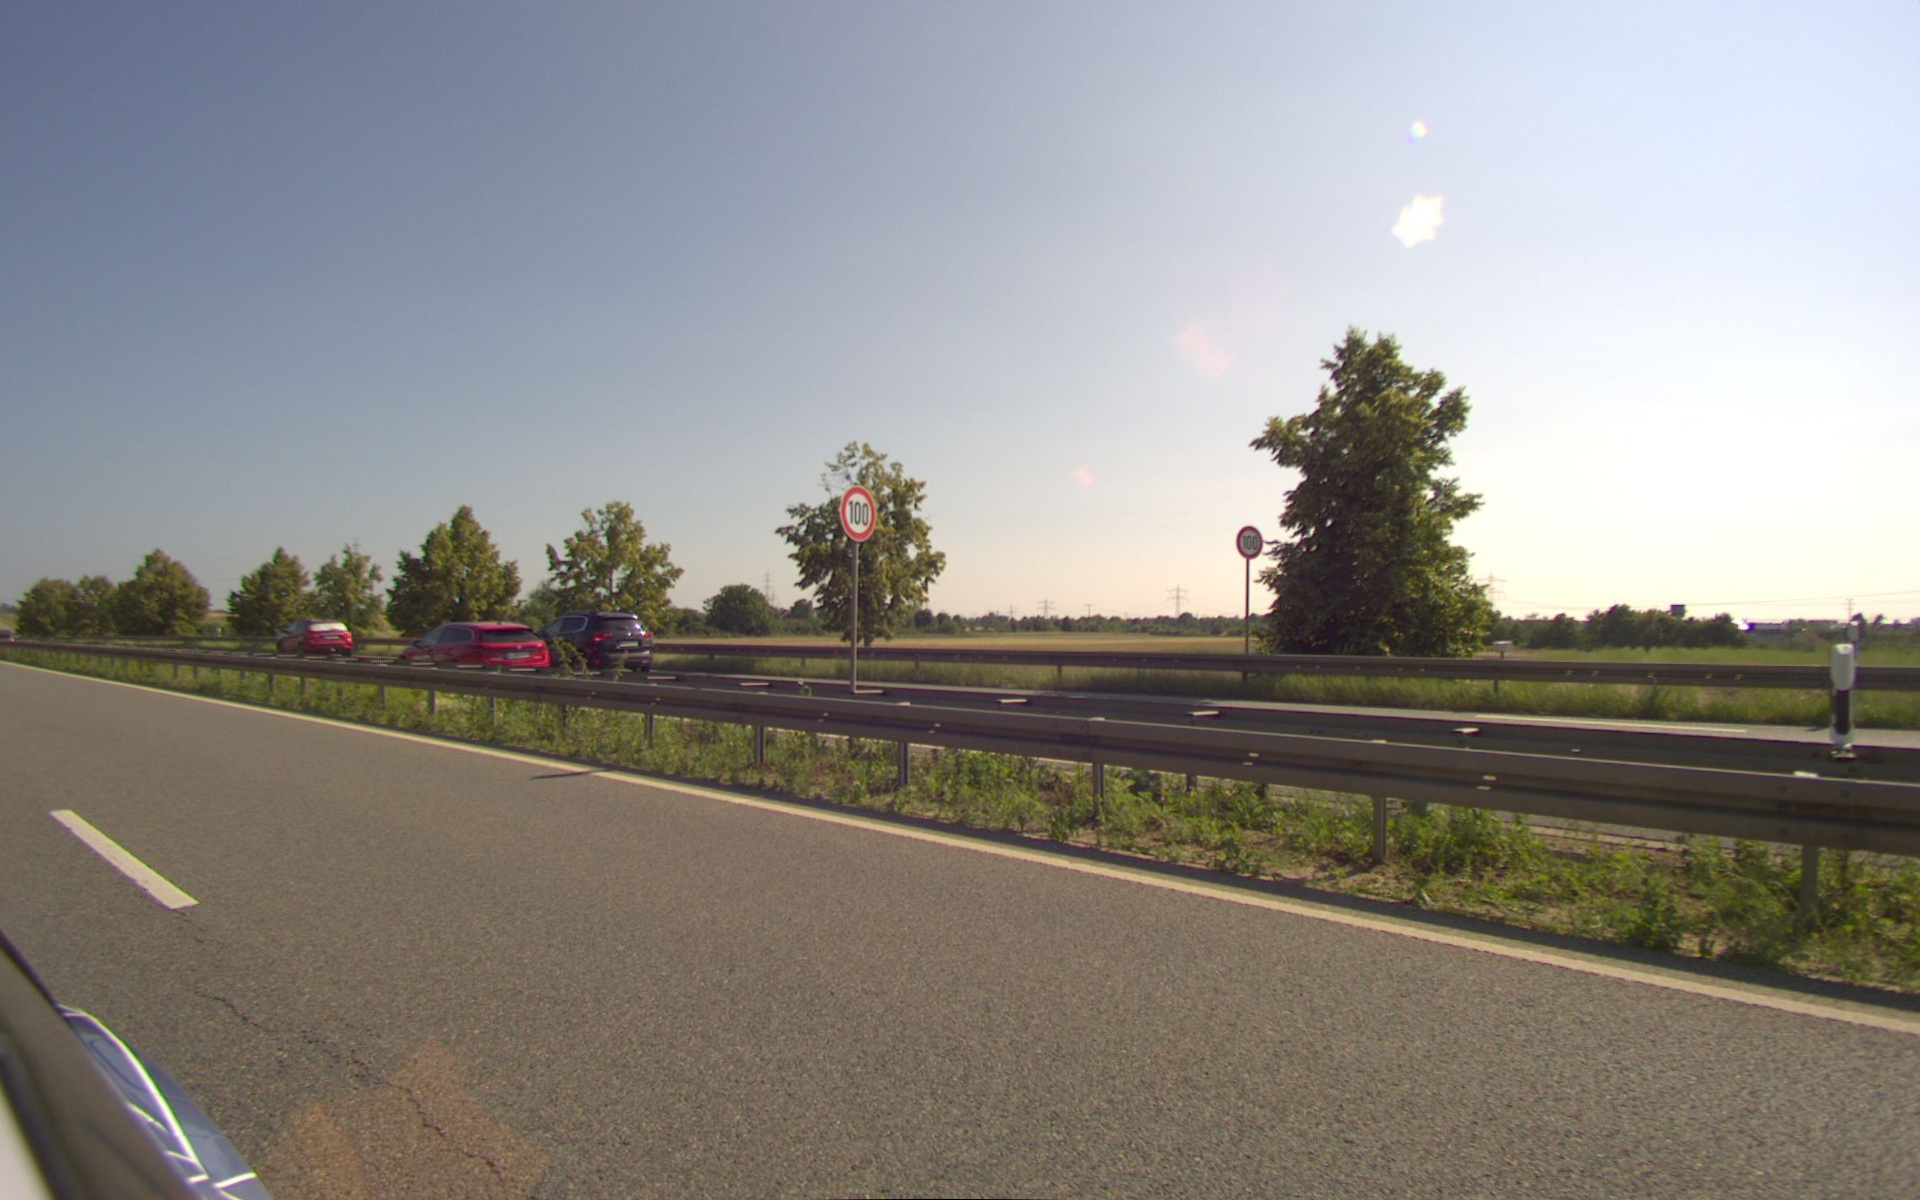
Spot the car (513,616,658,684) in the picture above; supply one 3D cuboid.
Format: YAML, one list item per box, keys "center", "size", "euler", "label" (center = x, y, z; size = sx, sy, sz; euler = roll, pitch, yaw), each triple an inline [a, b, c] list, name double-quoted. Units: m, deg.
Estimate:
- center: [-9.679, 1.236, 26.008]
  size: [4.219, 1.608, 1.708]
  euler: [-1, -1, 41]
  label: "car"

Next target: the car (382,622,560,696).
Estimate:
- center: [-11.316, 1.269, 23.228]
  size: [5.093, 1.504, 1.856]
  euler: [-1, -1, 41]
  label: "car"

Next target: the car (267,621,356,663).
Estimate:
- center: [-26.399, 1.677, 41.150]
  size: [4.771, 1.605, 1.824]
  euler: [-1, -1, 41]
  label: "car"

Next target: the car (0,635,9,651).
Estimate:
- center: [-98.173, 4.334, 102.839]
  size: [4.452, 1.553, 1.793]
  euler: [-2, -3, 42]
  label: "car"
